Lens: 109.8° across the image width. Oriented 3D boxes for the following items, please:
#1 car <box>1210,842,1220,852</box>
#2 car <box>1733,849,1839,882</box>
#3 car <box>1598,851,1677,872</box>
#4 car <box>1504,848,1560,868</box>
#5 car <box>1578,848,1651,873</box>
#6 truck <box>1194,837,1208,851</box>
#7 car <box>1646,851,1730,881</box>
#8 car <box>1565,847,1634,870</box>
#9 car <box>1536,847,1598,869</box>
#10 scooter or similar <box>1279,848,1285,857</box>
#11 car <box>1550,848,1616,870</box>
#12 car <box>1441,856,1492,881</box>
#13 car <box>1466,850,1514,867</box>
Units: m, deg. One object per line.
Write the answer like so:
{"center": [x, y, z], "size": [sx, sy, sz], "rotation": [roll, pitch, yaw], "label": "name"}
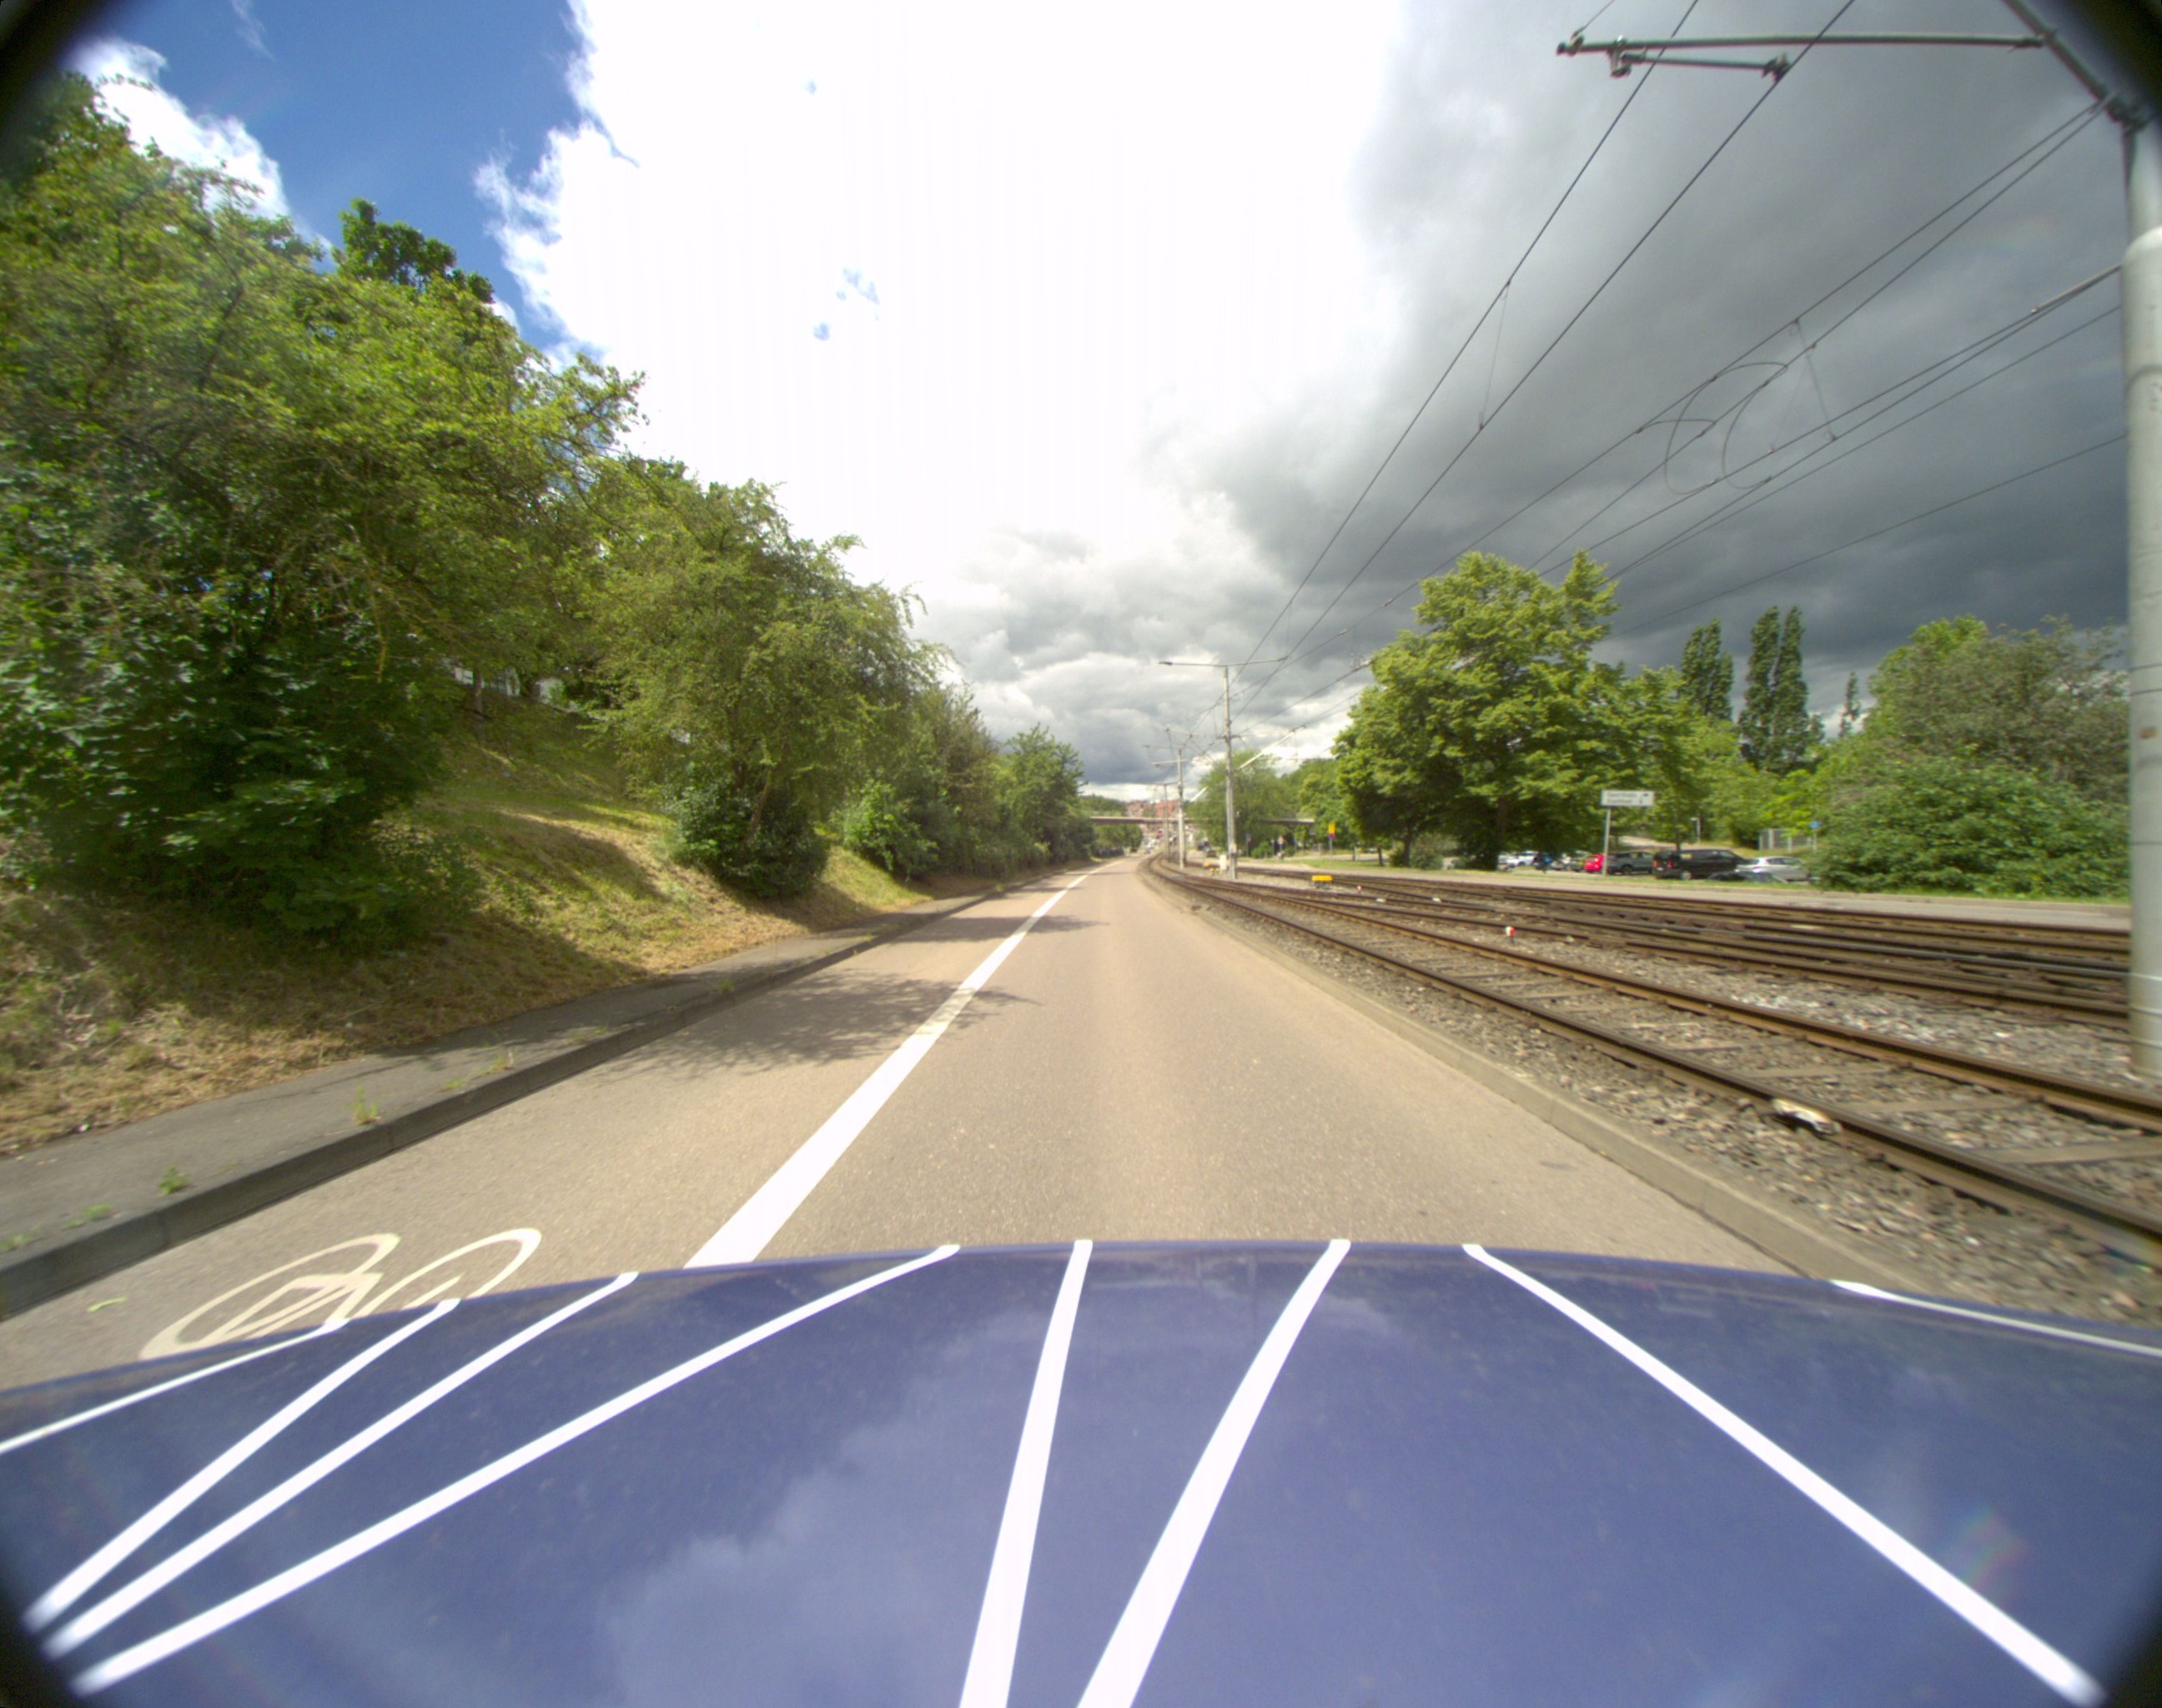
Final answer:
{"center": [24.533, -1.268, 138.840], "size": [1.692, 1.442, 3.899], "rotation": [-3, 2, 9], "label": "car"}
{"center": [40.044, 0.652, 43.231], "size": [3.993, 1.589, 1.860], "rotation": [-3, 1, 12], "label": "car"}
{"center": [40.092, 0.557, 54.847], "size": [4.089, 1.245, 1.998], "rotation": [-3, 0, 9], "label": "car"}
{"center": [41.042, 0.341, 69.249], "size": [3.923, 1.570, 1.844], "rotation": [-3, 0, 8], "label": "car"}
{"center": [40.308, 0.492, 57.504], "size": [3.961, 1.570, 1.997], "rotation": [-3, 0, 9], "label": "car"}
{"center": [32.285, -2.702, 204.711], "size": [2.877, 3.301, 9.031], "rotation": [-4, 2, 6], "label": "truck"}
{"center": [38.514, 0.741, 48.304], "size": [3.602, 1.628, 1.952], "rotation": [-3, 1, 12], "label": "car"}
{"center": [40.690, 0.359, 59.709], "size": [3.961, 1.570, 1.997], "rotation": [-3, 0, 9], "label": "car"}
{"center": [41.035, 0.320, 64.219], "size": [3.961, 1.570, 1.871], "rotation": [-3, 0, 9], "label": "car"}
{"center": [27.714, -0.223, 104.753], "size": [0.712, 1.141, 0.788], "rotation": [-3, 2, 10], "label": "scooter or similar"}
{"center": [40.839, 0.428, 61.903], "size": [3.961, 1.570, 1.995], "rotation": [-3, 0, 9], "label": "car"}
{"center": [30.285, 1.124, 59.846], "size": [1.994, 1.744, 4.070], "rotation": [-3, -1, 2], "label": "car"}
{"center": [40.680, 0.483, 75.653], "size": [3.876, 1.383, 1.574], "rotation": [-3, 2, 11], "label": "car"}
